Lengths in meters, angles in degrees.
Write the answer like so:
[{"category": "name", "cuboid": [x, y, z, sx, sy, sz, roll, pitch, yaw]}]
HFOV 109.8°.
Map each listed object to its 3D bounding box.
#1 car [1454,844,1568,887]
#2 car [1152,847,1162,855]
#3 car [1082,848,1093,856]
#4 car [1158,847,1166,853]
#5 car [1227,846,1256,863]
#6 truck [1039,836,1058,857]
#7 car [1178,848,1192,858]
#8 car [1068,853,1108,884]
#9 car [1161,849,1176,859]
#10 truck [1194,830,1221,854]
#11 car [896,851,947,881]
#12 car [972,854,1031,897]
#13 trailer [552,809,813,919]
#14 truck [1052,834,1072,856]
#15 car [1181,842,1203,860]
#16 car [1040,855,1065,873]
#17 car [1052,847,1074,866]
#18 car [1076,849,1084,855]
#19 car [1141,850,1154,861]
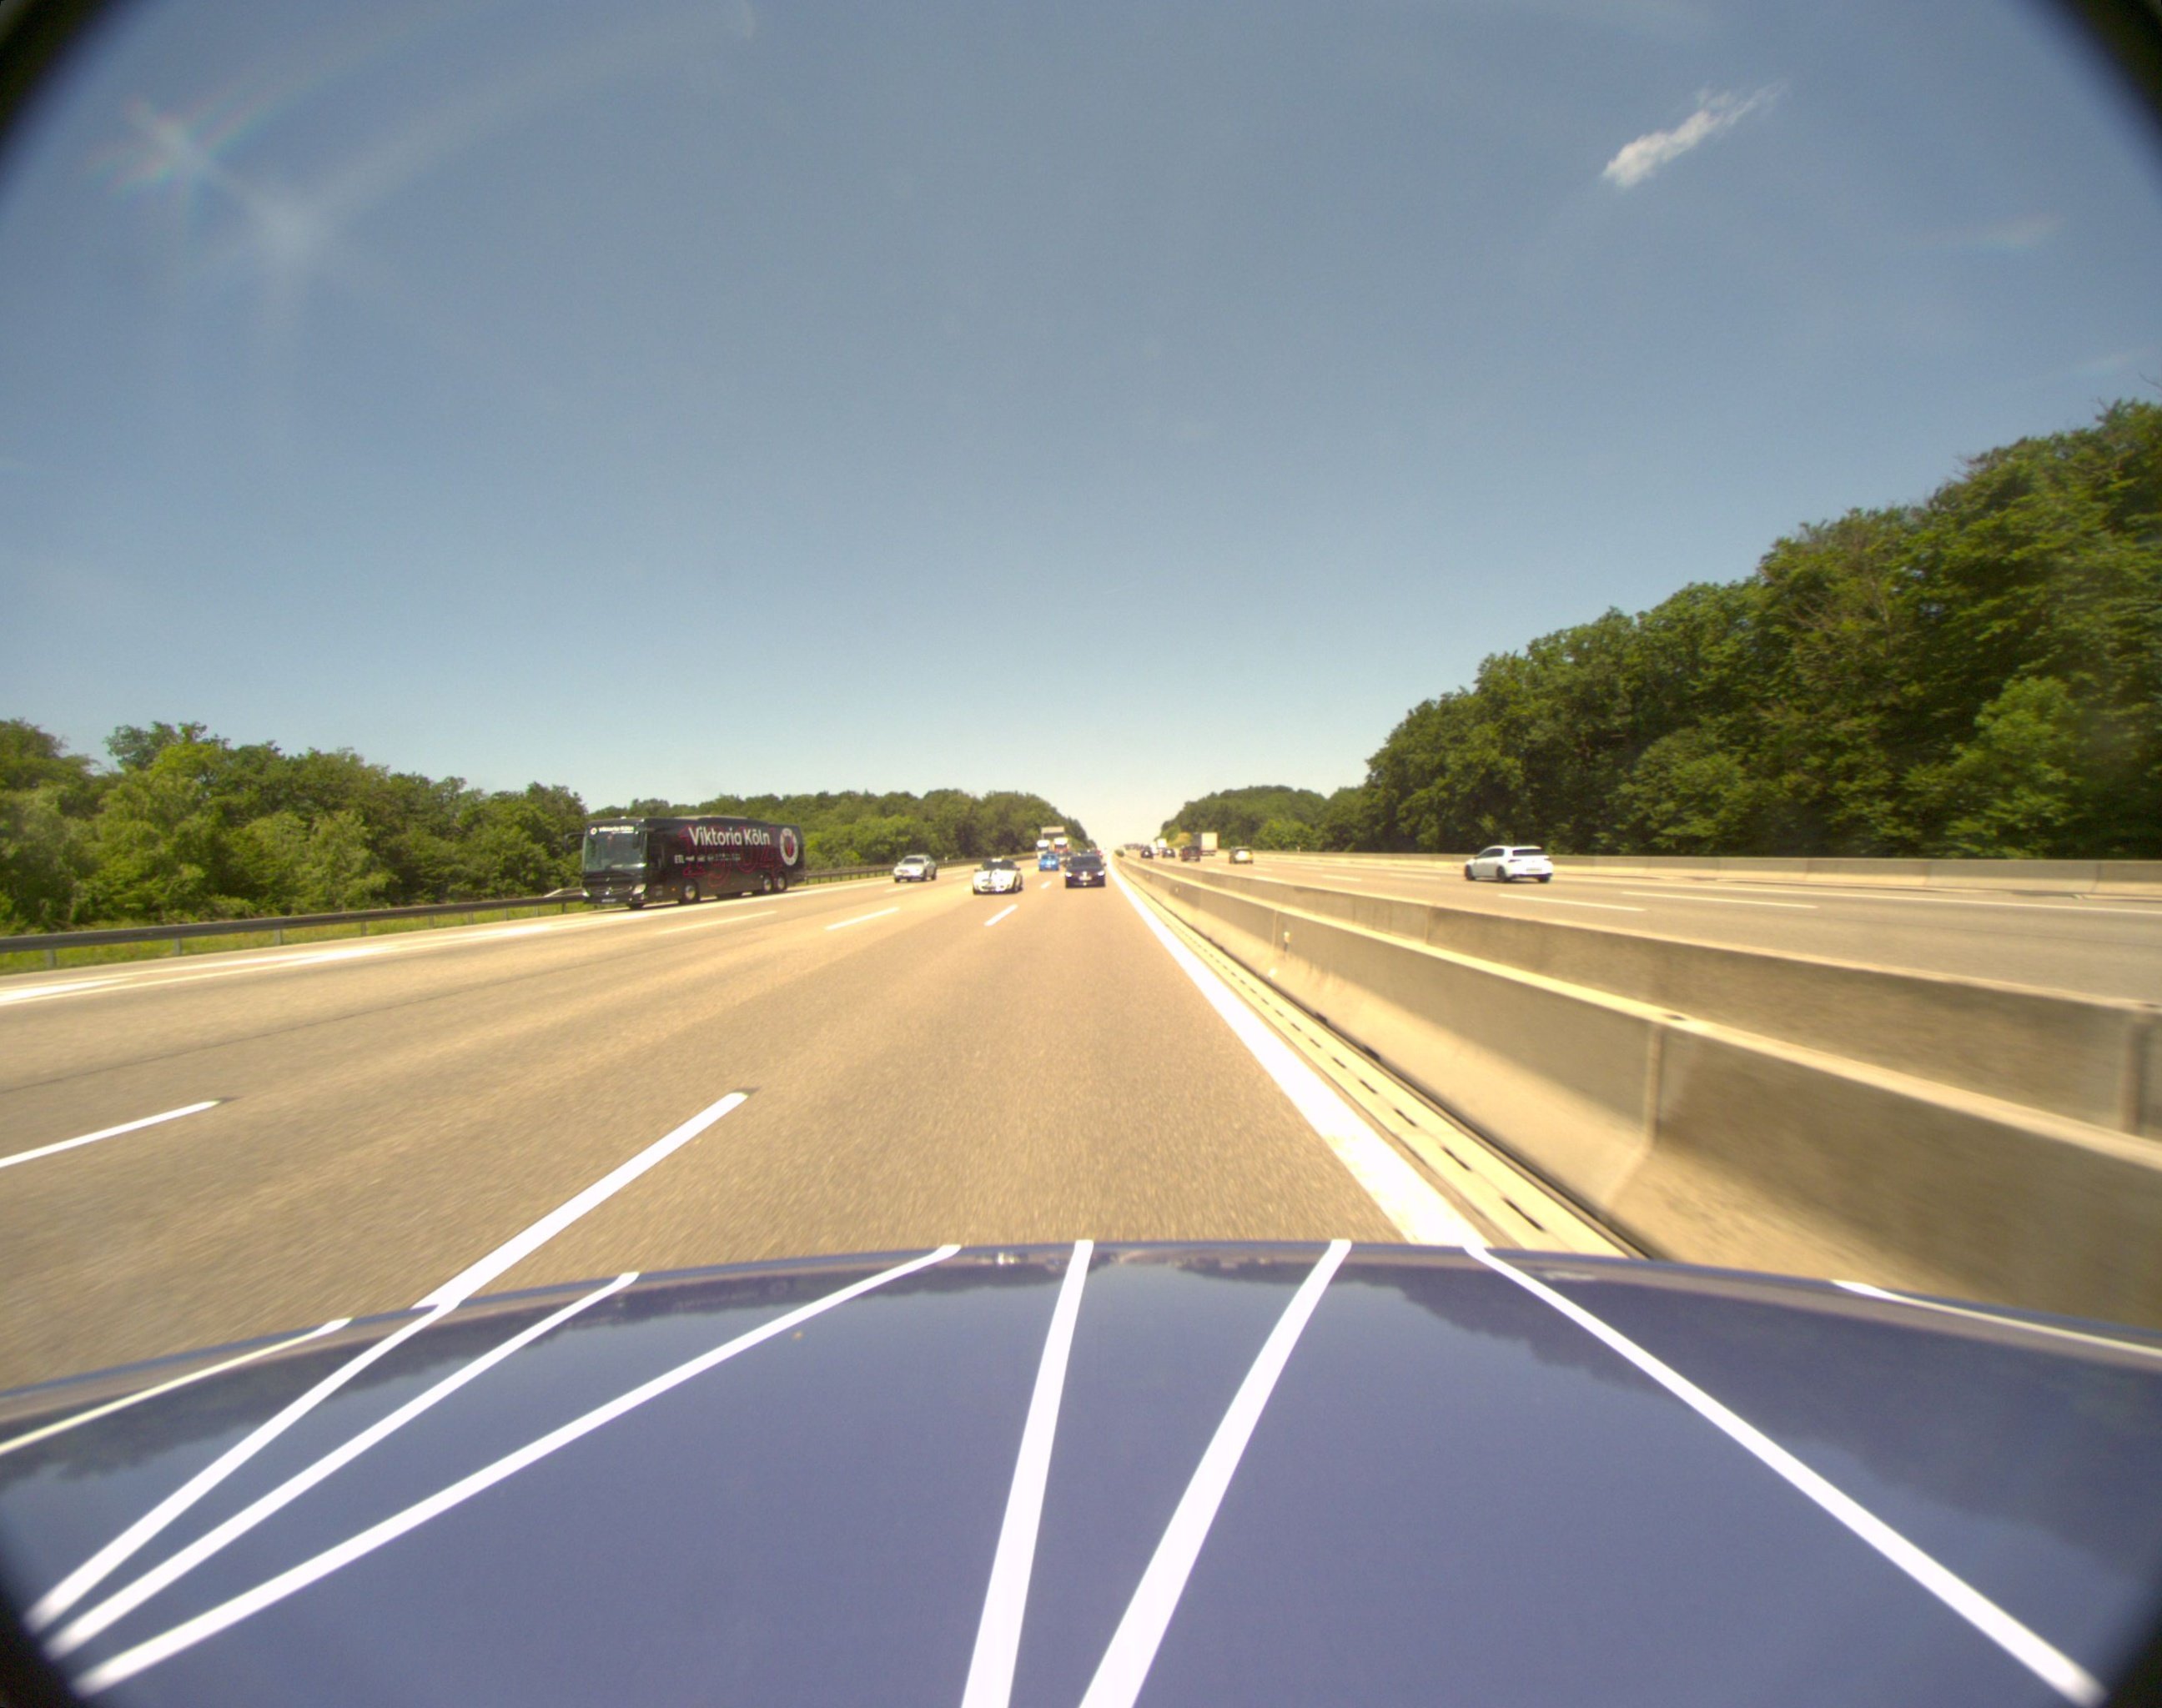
[{"category": "car", "cuboid": [17.012, 0.398, 30.381, 1.877, 1.472, 4.813, -3, 1, 1]}, {"category": "car", "cuboid": [15.478, -0.699, 154.808, 1.836, 1.553, 4.776, 1, 1, 2]}, {"category": "car", "cuboid": [1.396, -0.386, 156.249, 1.909, 1.503, 4.161, -4, 0, 4]}, {"category": "car", "cuboid": [20.377, -1.034, 191.383, 1.836, 1.294, 4.729, -1, 1, 2]}, {"category": "car", "cuboid": [15.729, -0.001, 74.610, 1.877, 1.526, 4.813, -1, 1, 1]}, {"category": "truck", "cuboid": [-7.008, -1.605, 163.603, 2.728, 4.136, 10.972, -4, 0, 3]}, {"category": "car", "cuboid": [17.886, -0.158, 130.430, 1.877, 1.526, 4.135, -1, 1, 1]}, {"category": "car", "cuboid": [0.400, 0.675, 37.681, 1.777, 1.425, 4.144, -1, 1, 3]}, {"category": "car", "cuboid": [13.799, 0.012, 119.396, 1.877, 1.467, 5.111, -1, 1, 2]}, {"category": "truck", "cuboid": [22.054, -2.066, 132.872, 2.696, 4.002, 14.298, -2, 1, 2]}, {"category": "car", "cuboid": [-10.050, 0.724, 48.260, 1.805, 1.721, 5.240, -2, 0, 3]}, {"category": "car", "cuboid": [-3.166, 0.833, 31.041, 1.846, 1.543, 4.000, -2, 0, 1]}, {"category": "trailer", "cuboid": [-16.101, 0.215, 32.880, 2.863, 3.667, 13.545, -2, 1, 6]}, {"category": "truck", "cuboid": [-3.674, -1.663, 148.353, 3.017, 3.957, 7.542, -4, -1, 3]}, {"category": "car", "cuboid": [12.853, -0.350, 88.255, 1.877, 1.929, 5.774, -1, 1, 1]}, {"category": "car", "cuboid": [-2.403, 0.813, 65.442, 1.741, 1.403, 4.000, -3, 0, 3]}, {"category": "car", "cuboid": [-2.104, 0.243, 90.257, 1.965, 2.041, 4.785, -5, 0, 6]}, {"category": "car", "cuboid": [-0.210, -0.642, 220.744, 1.909, 1.503, 4.161, -4, 0, 4]}, {"category": "car", "cuboid": [9.654, 0.202, 110.436, 1.605, 1.460, 4.505, -1, 1, 1]}]
